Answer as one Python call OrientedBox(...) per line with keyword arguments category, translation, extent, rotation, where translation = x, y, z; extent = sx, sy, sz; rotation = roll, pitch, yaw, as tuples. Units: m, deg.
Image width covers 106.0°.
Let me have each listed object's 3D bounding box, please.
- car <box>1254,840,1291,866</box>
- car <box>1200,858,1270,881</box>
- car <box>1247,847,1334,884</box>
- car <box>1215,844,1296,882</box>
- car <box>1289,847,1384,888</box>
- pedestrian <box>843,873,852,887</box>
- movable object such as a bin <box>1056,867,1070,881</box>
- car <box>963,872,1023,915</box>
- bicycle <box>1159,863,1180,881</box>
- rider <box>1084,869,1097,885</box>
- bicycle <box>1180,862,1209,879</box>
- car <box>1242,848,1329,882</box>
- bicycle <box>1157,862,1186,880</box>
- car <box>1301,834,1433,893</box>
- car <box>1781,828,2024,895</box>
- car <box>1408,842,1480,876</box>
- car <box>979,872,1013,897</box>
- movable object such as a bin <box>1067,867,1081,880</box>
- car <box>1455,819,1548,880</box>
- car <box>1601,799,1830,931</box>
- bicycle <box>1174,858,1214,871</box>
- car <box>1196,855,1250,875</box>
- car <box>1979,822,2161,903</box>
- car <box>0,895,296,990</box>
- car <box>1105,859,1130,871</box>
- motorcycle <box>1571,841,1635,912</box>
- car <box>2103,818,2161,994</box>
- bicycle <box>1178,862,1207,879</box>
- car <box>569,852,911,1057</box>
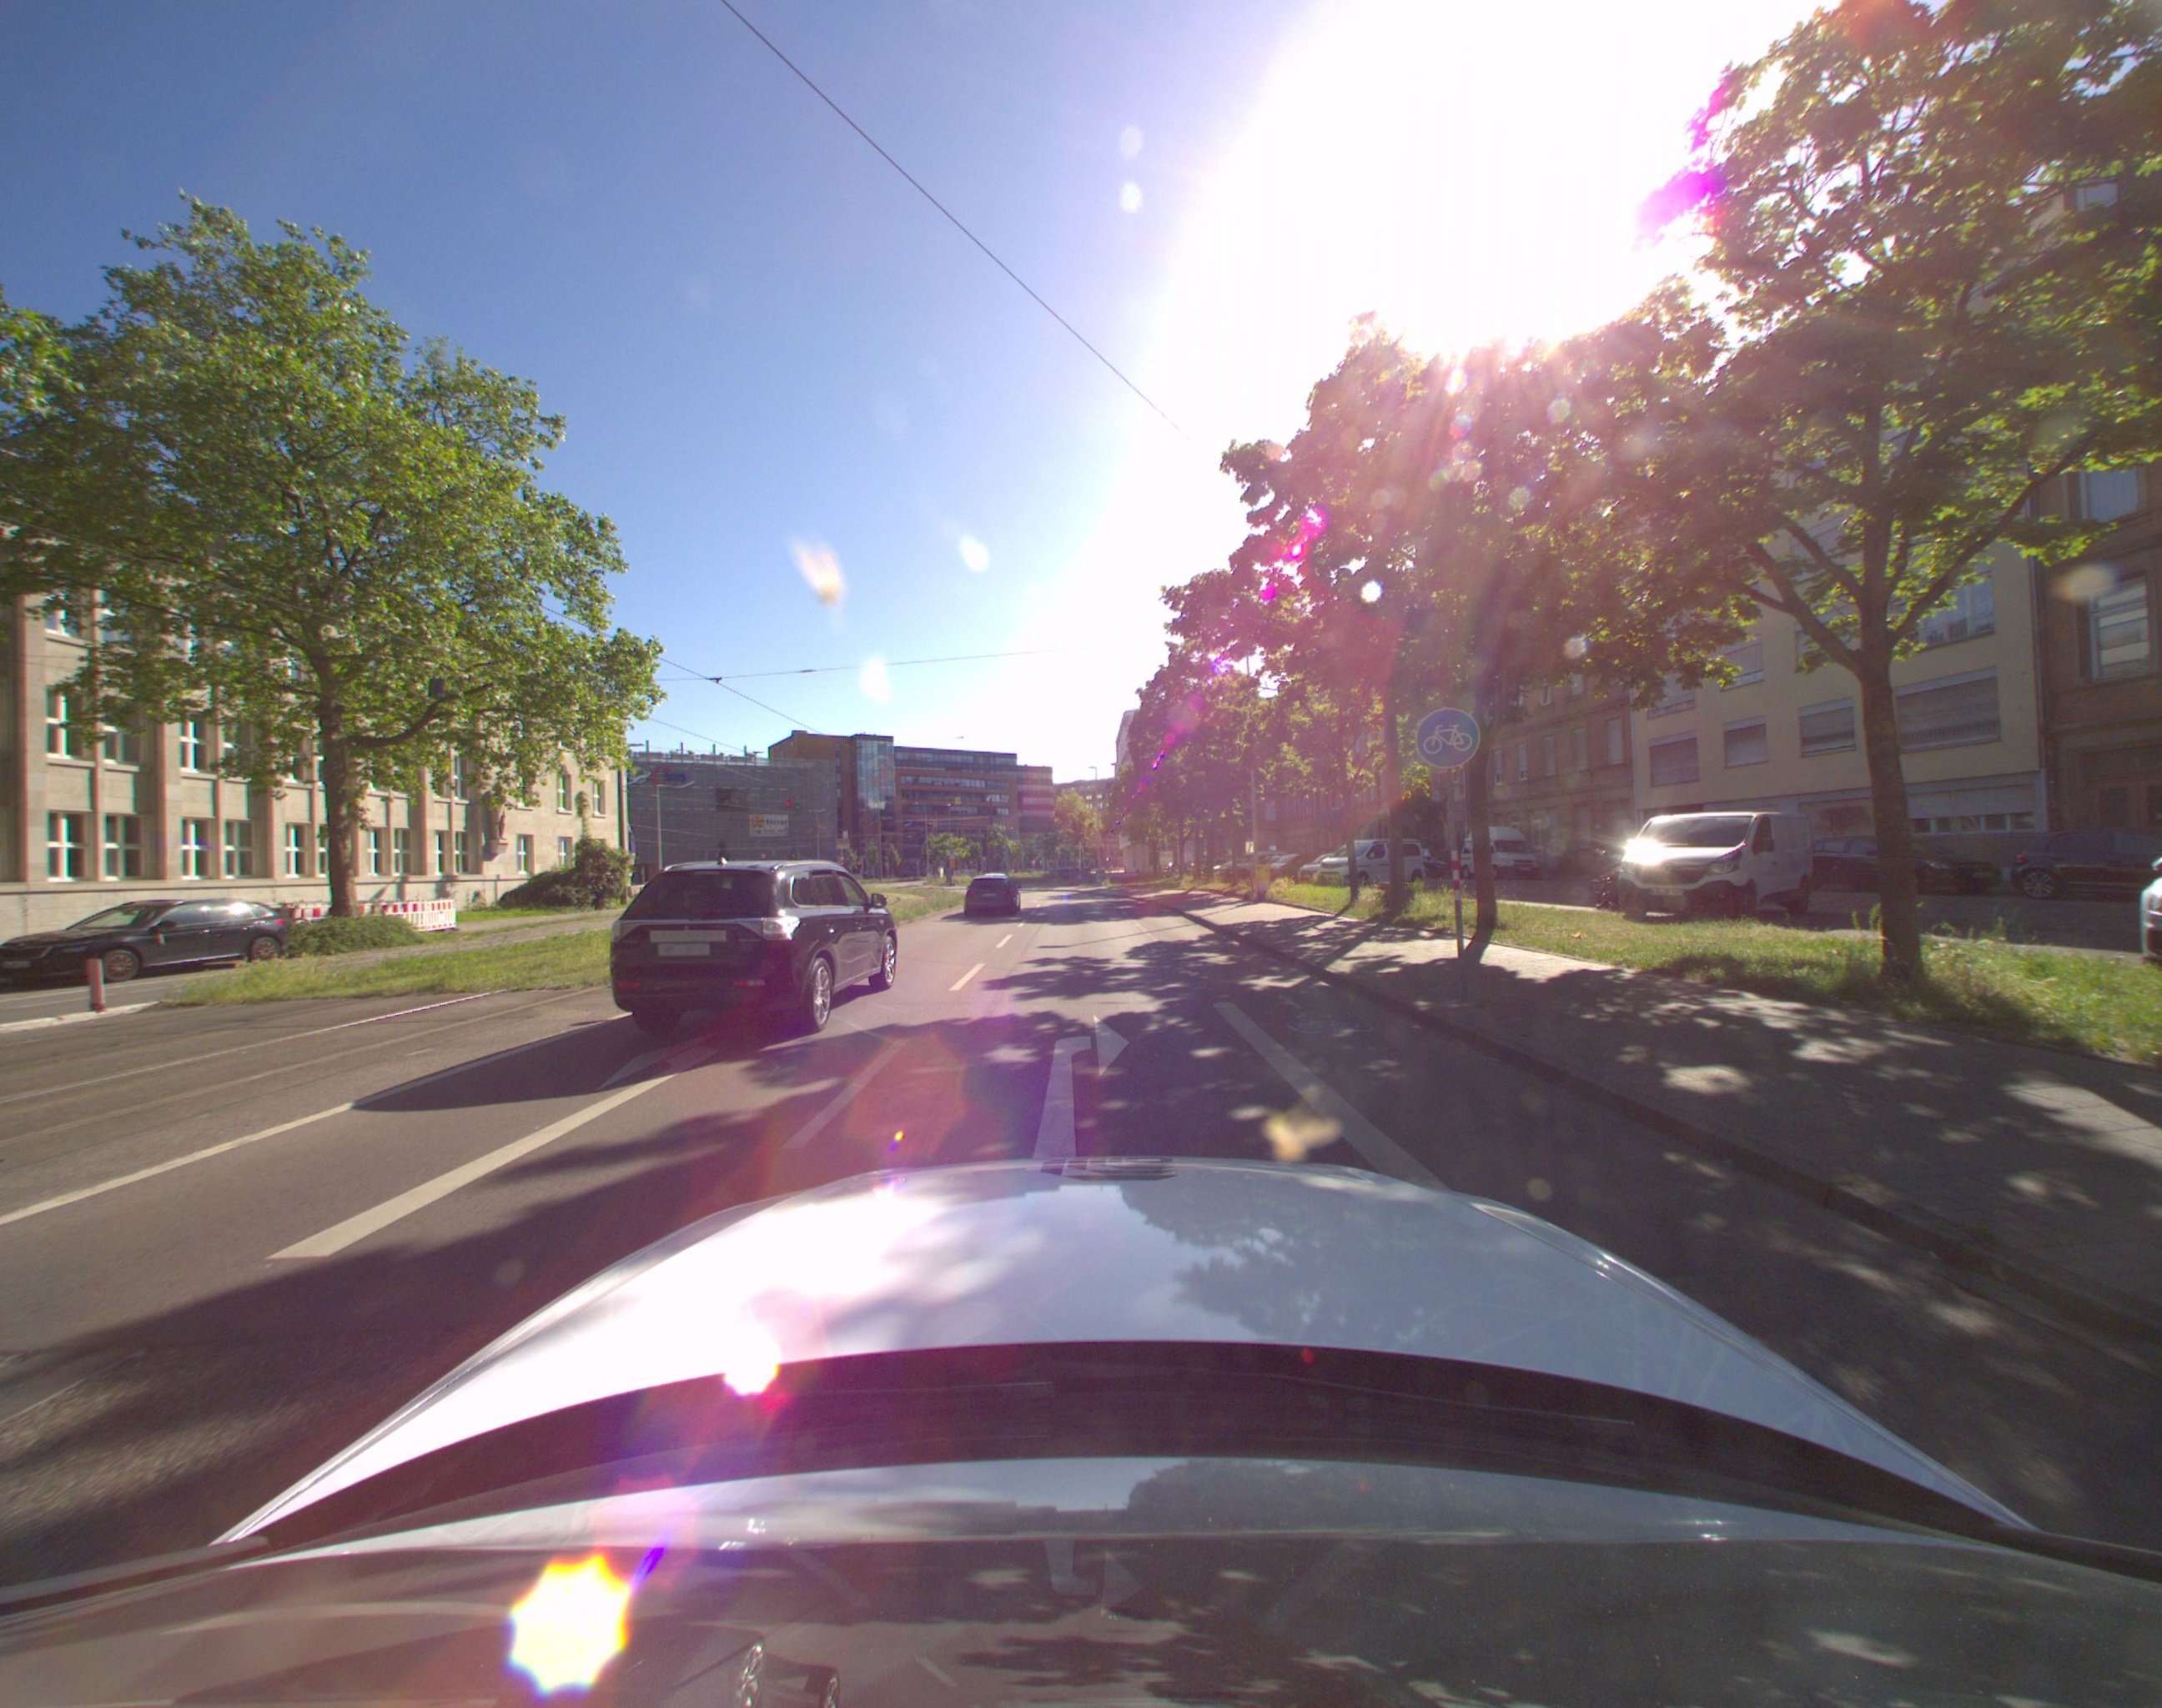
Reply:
OrientedBox(category="car", translation=(19.043, -0.114, 81.262), extent=(2.341, 2.357, 5.187), rotation=(-4, 0, 0))
OrientedBox(category="car", translation=(10.872, 1.084, 57.446), extent=(4.772, 1.380, 2.024), rotation=(-2, -1, -35))
OrientedBox(category="car", translation=(11.681, 0.623, 45.350), extent=(4.527, 1.727, 1.980), rotation=(-4, -1, -30))
OrientedBox(category="car", translation=(11.060, 0.555, 51.496), extent=(4.901, 2.013, 2.078), rotation=(-4, -1, -35))
OrientedBox(category="car", translation=(11.224, 0.572, 35.733), extent=(4.047, 1.478, 1.793), rotation=(-4, -1, -35))
OrientedBox(category="pedestrian", translation=(-29.506, 3.258, 102.960), extent=(0.893, 1.707, 0.704), rotation=(-1, -2, -39))
OrientedBox(category="movable object such as a bin", translation=(-1.882, 2.129, 86.674), extent=(1.059, 1.398, 1.310), rotation=(-3, -1, 19))
OrientedBox(category="car", translation=(-3.101, 1.422, 29.502), extent=(1.729, 1.423, 4.464), rotation=(0, -3, -1))
OrientedBox(category="bicycle", translation=(6.579, 1.330, 60.650), extent=(0.760, 1.290, 1.608), rotation=(-4, -1, 39))
OrientedBox(category="rider", translation=(0.790, 1.888, 67.362), extent=(0.498, 1.176, 1.683), rotation=(-3, 0, 17))
OrientedBox(category="bicycle", translation=(8.461, 1.229, 60.602), extent=(1.939, 1.180, 0.899), rotation=(-4, -1, -2))
OrientedBox(category="car", translation=(12.227, 0.646, 48.677), extent=(4.896, 1.648, 2.080), rotation=(-4, -1, -30))
OrientedBox(category="bicycle", translation=(7.042, 1.310, 63.149), extent=(2.091, 1.365, 0.785), rotation=(-2, -1, -7))
OrientedBox(category="car", translation=(11.655, 0.373, 33.100), extent=(5.204, 2.013, 2.080), rotation=(-4, -1, -30))
OrientedBox(category="car", translation=(20.395, 0.178, 20.522), extent=(1.872, 1.420, 4.163), rotation=(-3, 0, 0))
OrientedBox(category="car", translation=(20.003, 0.292, 45.106), extent=(1.987, 1.691, 4.512), rotation=(-2, -1, 0))
OrientedBox(category="car", translation=(-5.033, 1.823, 47.763), extent=(1.633, 1.423, 3.767), rotation=(1, -3, -11))
OrientedBox(category="movable object such as a bin", translation=(-0.755, 2.071, 86.565), extent=(1.098, 1.398, 1.327), rotation=(-3, -1, 19))
OrientedBox(category="car", translation=(19.802, -0.192, 38.590), extent=(1.987, 2.585, 4.513), rotation=(-4, 0, 1))
OrientedBox(category="car", translation=(12.081, 0.121, 15.395), extent=(4.902, 2.075, 1.998), rotation=(-4, 0, -36))
OrientedBox(category="bicycle", translation=(11.022, 1.046, 79.881), extent=(2.671, 1.127, 5.211), rotation=(-2, -1, -6))
OrientedBox(category="car", translation=(12.485, 0.964, 71.438), extent=(4.486, 1.565, 1.918), rotation=(-2, -1, -32))
OrientedBox(category="car", translation=(20.332, 0.123, 15.483), extent=(1.723, 1.420, 4.292), rotation=(-3, 0, 0))
OrientedBox(category="car", translation=(-19.085, 1.703, 16.709), extent=(1.823, 1.492, 4.181), rotation=(-2, -1, 1))
OrientedBox(category="car", translation=(6.349, 1.929, 142.852), extent=(3.958, 2.014, 2.008), rotation=(-2, -1, 15))
OrientedBox(category="motorcycle", translation=(11.639, 0.474, 18.115), extent=(0.844, 1.420, 2.276), rotation=(-4, 0, 40))
OrientedBox(category="car", translation=(11.961, 0.361, 7.971), extent=(4.900, 1.435, 1.999), rotation=(-4, 0, -34))
OrientedBox(category="bicycle", translation=(8.430, 1.251, 61.525), extent=(1.952, 1.192, 0.841), rotation=(-4, -1, -2))
OrientedBox(category="car", translation=(-3.367, 0.898, 9.189), extent=(1.830, 1.682, 4.642), rotation=(-1, -1, 1))
